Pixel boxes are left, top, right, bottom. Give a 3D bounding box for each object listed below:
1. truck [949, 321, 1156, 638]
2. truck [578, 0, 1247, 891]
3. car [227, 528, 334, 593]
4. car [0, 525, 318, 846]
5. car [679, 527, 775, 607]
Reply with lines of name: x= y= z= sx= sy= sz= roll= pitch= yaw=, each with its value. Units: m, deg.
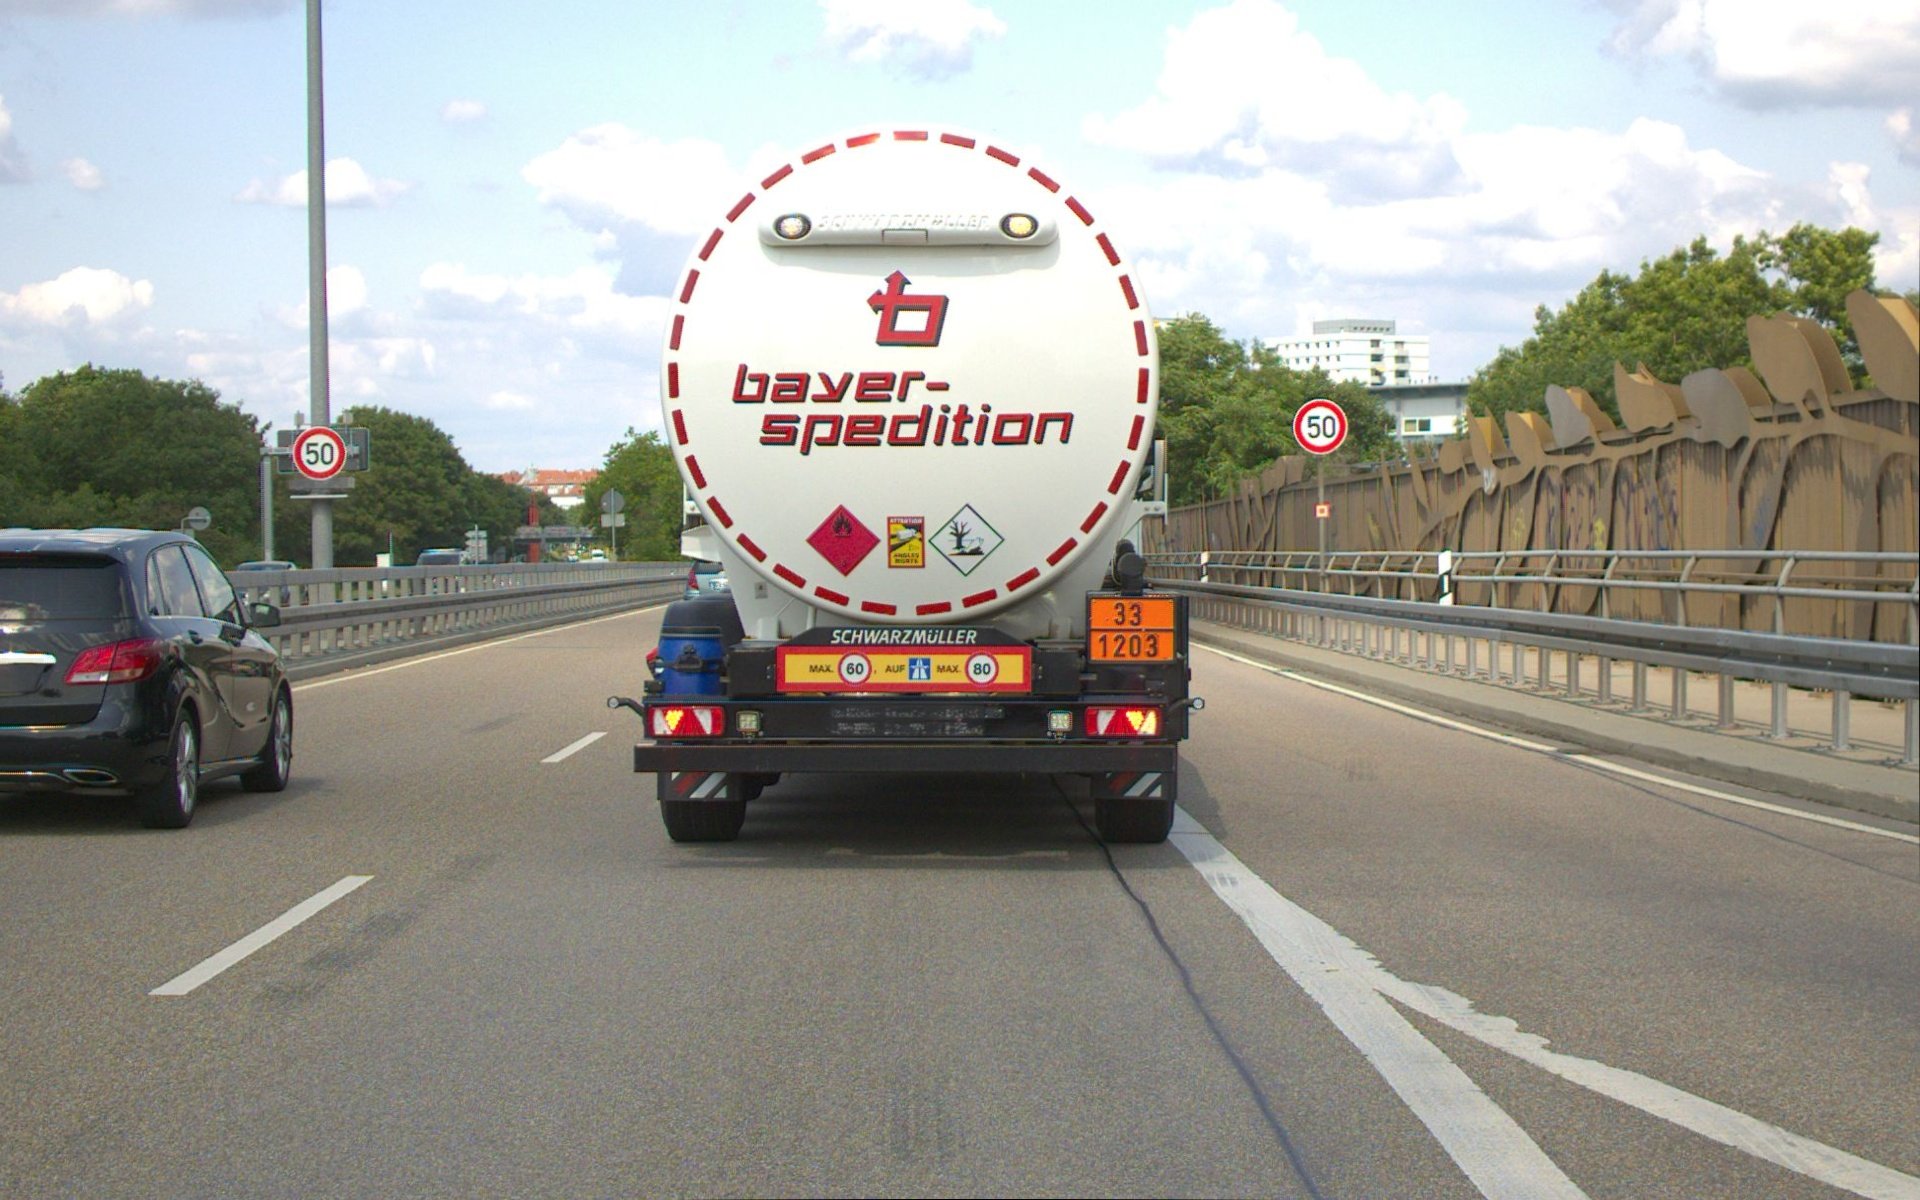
truck: x=1.398 y=-1.924 z=56.372 sx=2.895 sy=4.791 sz=8.030 roll=1 pitch=1 yaw=-2
truck: x=-0.318 y=-0.998 z=19.179 sx=2.895 sy=4.353 sz=8.030 roll=1 pitch=1 yaw=-2
car: x=-17.076 y=-1.022 z=86.555 sx=1.993 sy=1.568 sz=4.000 roll=1 pitch=1 yaw=-1
car: x=-4.782 y=0.361 z=18.855 sx=1.711 sy=1.522 sz=4.593 roll=1 pitch=1 yaw=-1
car: x=-4.676 y=-0.682 z=69.424 sx=1.747 sy=1.526 sz=4.001 roll=0 pitch=2 yaw=-1
